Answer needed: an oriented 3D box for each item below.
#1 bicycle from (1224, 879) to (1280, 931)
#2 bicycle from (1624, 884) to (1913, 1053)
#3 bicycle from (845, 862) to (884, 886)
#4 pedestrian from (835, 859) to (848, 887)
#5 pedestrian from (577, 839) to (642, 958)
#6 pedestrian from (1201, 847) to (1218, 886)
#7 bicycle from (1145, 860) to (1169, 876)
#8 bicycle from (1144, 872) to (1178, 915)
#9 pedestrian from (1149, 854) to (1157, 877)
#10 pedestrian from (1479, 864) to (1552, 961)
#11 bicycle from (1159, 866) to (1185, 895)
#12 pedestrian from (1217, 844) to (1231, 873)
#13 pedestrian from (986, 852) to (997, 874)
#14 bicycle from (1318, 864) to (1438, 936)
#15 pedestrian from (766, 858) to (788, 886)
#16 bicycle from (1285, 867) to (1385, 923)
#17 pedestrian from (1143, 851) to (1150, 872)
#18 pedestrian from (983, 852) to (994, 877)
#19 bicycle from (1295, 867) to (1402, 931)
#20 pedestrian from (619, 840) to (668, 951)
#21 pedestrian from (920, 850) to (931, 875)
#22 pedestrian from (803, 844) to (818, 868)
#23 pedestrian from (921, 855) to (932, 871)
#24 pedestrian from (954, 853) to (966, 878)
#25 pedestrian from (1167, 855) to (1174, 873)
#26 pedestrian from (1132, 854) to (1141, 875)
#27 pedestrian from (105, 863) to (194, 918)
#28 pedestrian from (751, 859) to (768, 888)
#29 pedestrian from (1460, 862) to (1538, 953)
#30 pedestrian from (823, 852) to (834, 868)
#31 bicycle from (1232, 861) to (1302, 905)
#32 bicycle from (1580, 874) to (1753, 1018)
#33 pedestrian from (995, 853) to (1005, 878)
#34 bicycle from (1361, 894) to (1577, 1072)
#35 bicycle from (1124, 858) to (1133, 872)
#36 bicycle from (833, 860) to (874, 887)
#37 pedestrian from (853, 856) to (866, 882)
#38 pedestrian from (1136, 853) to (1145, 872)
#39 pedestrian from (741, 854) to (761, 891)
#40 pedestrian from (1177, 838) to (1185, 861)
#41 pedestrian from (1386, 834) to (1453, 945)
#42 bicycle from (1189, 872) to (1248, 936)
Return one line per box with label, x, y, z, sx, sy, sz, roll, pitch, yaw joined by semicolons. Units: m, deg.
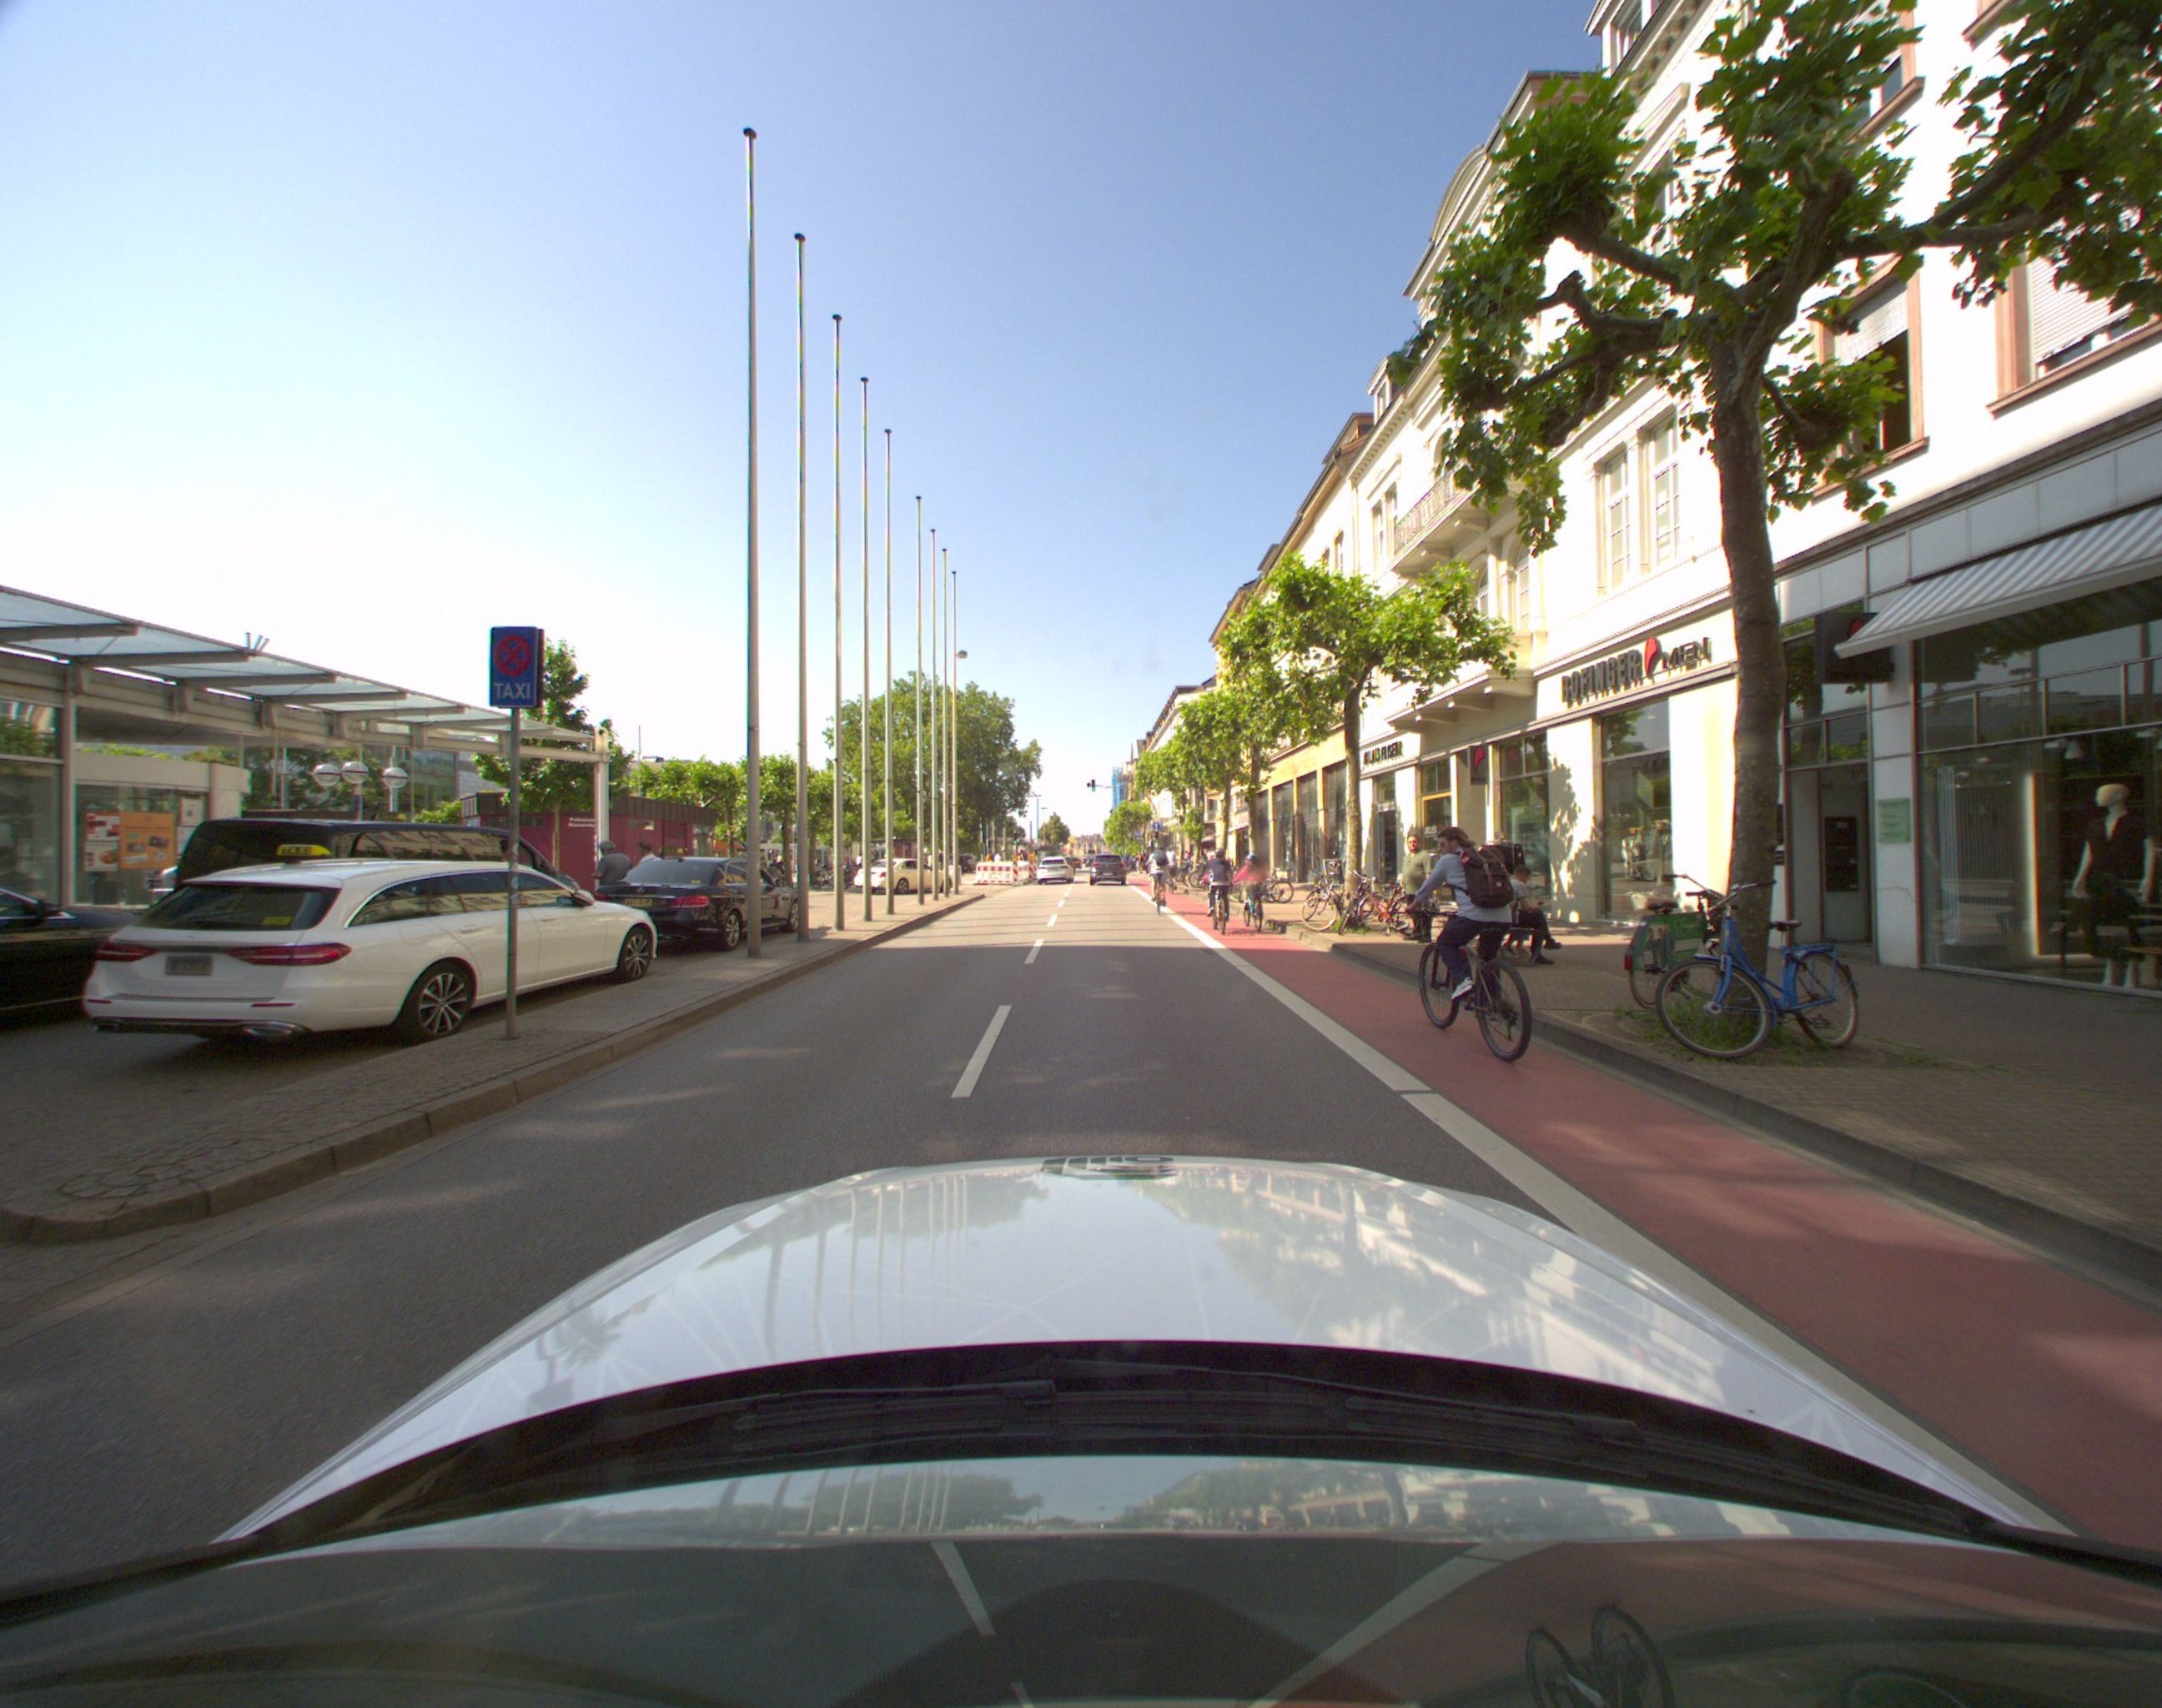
bicycle;3.437;1.005;16.523;0.598;0.926;2.085;-1;-1;-2
bicycle;5.011;0.818;5.960;1.839;1.127;0.496;1;1;-8
bicycle;-10.767;0.990;40.514;1.777;1.215;0.662;0;0;-3
pedestrian;-16.141;1.264;54.946;0.666;1.879;0.625;1;-1;-35
pedestrian;-7.357;0.669;12.710;0.612;1.792;0.697;-1;0;39
pedestrian;5.415;0.528;34.332;0.612;1.612;0.745;0;0;1
bicycle;5.260;0.961;56.217;0.604;1.082;1.820;-3;0;-34
bicycle;1.985;0.954;20.371;0.628;0.980;2.088;-1;0;0
pedestrian;5.233;0.832;59.275;0.546;1.631;0.589;-2;-1;3
pedestrian;5.696;0.755;10.703;0.637;1.233;0.596;0;-2;-2
bicycle;3.491;0.997;31.395;0.772;1.006;2.329;-1;0;1
pedestrian;8.953;0.284;51.125;0.655;1.790;1.233;-1;-2;0
pedestrian;-7.693;0.780;70.176;0.627;1.810;0.735;-1;-1;21
bicycle;5.072;0.766;13.986;1.830;1.197;0.675;0;-1;7
pedestrian;-14.834;0.867;39.748;0.667;1.381;0.899;0;0;9
bicycle;5.185;0.827;16.707;1.831;1.097;0.795;0;-1;5
pedestrian;4.958;0.575;61.783;0.520;1.521;0.642;-2;-1;3
pedestrian;-6.389;0.737;56.534;0.543;1.718;0.600;1;-1;-31
bicycle;4.917;0.812;15.051;1.828;1.127;0.499;1;-1;11
pedestrian;-7.320;0.674;13.627;0.526;1.792;0.542;-1;0;39
pedestrian;-10.990;0.623;57.459;0.582;1.722;0.789;-1;-2;2
pedestrian;-19.342;0.145;58.329;0.598;1.749;0.809;-1;-2;32
pedestrian;-13.702;0.804;72.213;0.627;1.479;0.735;-1;-1;21
pedestrian;-9.145;0.861;61.693;0.627;1.859;0.690;-1;-1;21
pedestrian;8.072;0.869;73.522;0.608;1.618;0.677;-1;1;-2
pedestrian;4.765;0.871;69.917;0.608;1.739;0.677;-5;-1;-2
pedestrian;-24.182;0.919;21.168;0.851;1.386;1.259;0;0;0
pedestrian;-14.721;0.889;37.340;0.672;1.309;0.683;0;0;-17
pedestrian;5.812;0.732;11.360;0.785;1.243;0.575;0;-2;-3
pedestrian;-19.513;0.445;62.989;0.616;1.262;0.604;0;-1;-44
bicycle;5.189;0.789;22.815;1.831;1.186;0.671;1;-1;5
bicycle;5.503;0.802;7.627;1.784;1.197;0.572;0;-1;-28
pedestrian;-5.578;0.789;56.240;0.432;1.740;0.600;1;-1;-31
bicycle;3.044;0.943;6.667;0.697;1.127;2.079;1;0;-3
bicycle;3.716;0.858;63.892;0.645;0.998;2.030;-1;0;0
bicycle;-10.939;0.928;39.125;1.777;1.309;0.662;0;0;-3
pedestrian;-14.866;1.000;54.659;0.573;1.739;0.607;1;-1;6
pedestrian;4.894;0.685;67.058;0.608;1.515;0.677;-5;-1;-2
pedestrian;-14.851;0.830;36.679;0.670;1.677;0.685;0;-1;-8
pedestrian;7.449;-0.327;60.648;0.546;1.640;0.589;-2;-1;3
pedestrian;5.352;0.541;12.905;0.637;1.689;0.843;2;0;-2
bicycle;2.653;0.931;15.920;0.697;1.127;2.079;1;0;-3
